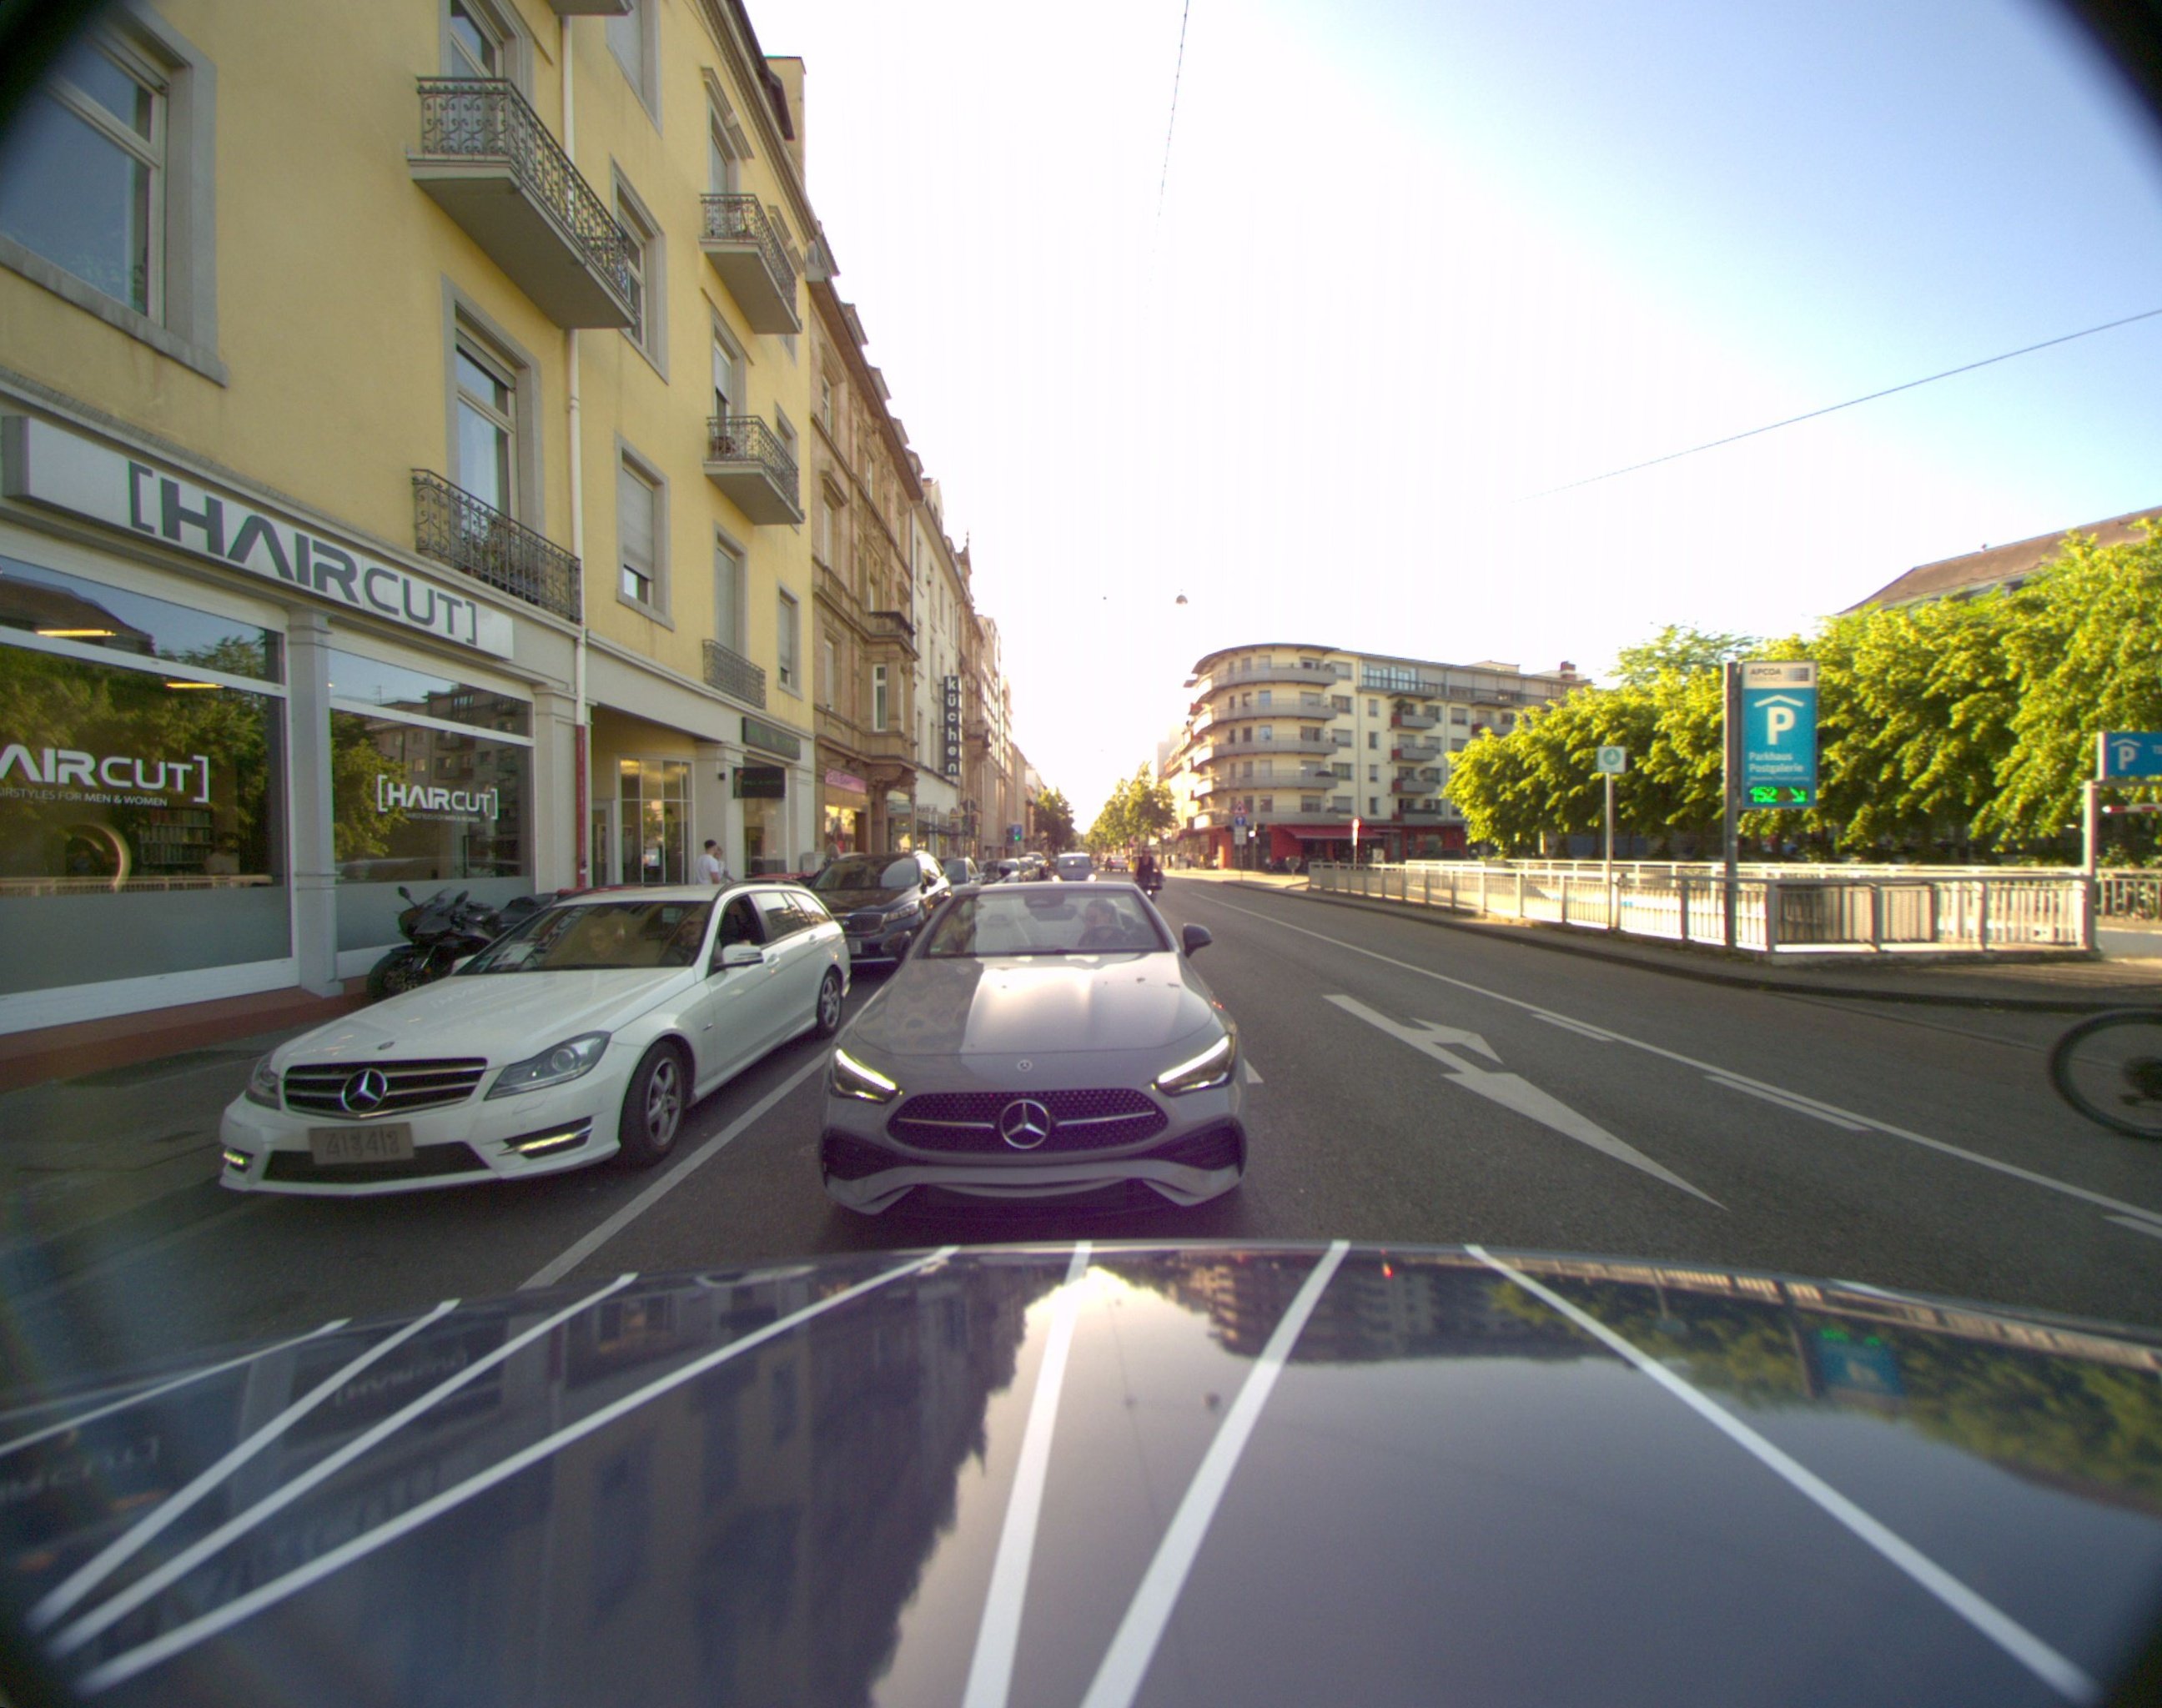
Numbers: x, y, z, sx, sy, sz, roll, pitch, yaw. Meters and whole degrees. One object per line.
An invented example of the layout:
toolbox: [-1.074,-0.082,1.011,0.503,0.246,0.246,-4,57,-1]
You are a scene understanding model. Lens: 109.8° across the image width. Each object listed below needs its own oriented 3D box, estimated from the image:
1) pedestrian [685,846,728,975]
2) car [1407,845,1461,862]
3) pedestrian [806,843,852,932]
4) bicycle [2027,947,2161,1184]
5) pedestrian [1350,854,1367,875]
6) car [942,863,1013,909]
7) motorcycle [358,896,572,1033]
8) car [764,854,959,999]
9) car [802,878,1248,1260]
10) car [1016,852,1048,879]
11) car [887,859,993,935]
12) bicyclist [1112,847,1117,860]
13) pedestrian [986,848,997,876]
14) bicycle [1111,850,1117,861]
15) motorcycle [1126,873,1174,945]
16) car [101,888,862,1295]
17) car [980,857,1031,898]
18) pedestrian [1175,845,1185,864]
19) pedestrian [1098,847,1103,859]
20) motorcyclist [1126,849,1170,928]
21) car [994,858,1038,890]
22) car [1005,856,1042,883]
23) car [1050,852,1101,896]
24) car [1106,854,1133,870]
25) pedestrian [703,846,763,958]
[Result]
pedestrian: [-5.917,0.861,12.000,0.375,1.971,0.692,-2,1,-43]
car: [29.038,-0.053,62.435,4.004,1.294,1.753,-2,1,-23]
pedestrian: [-4.822,0.629,14.525,0.720,1.644,0.604,-2,1,-26]
bicycle: [6.076,1.115,3.508,0.642,1.079,2.055,-2,3,-43]
pedestrian: [21.586,0.849,59.043,0.863,1.586,0.887,-3,1,-38]
car: [-3.359,0.992,25.349,1.802,1.259,4.085,-2,1,-1]
motorcycle: [-6.165,1.044,7.767,0.567,1.072,1.954,2,1,1]
car: [-2.982,0.875,11.310,1.803,1.629,4.243,-2,1,-3]
car: [-0.270,0.954,5.164,1.802,1.351,3.999,-2,1,-1]
car: [-3.023,0.697,47.491,1.725,1.506,4.004,-2,1,-1]
car: [-3.302,0.944,18.582,1.802,1.518,4.085,-2,1,-1]
bicyclist: [3.953,-0.108,90.715,0.524,1.539,0.799,-2,1,5]
pedestrian: [-5.848,0.510,49.791,0.574,1.840,0.665,-2,1,1]
bicycle: [3.965,0.177,90.753,0.527,1.163,1.594,-2,1,5]
motorcycle: [1.269,0.996,14.395,0.720,1.177,1.906,-2,1,1]
car: [-3.053,1.066,5.264,1.704,1.351,4.378,-2,1,1]
car: [-2.980,0.891,30.723,1.660,1.423,4.085,-2,1,-1]
pedestrian: [10.405,0.042,80.080,0.860,2.002,0.889,-2,1,0]
pedestrian: [3.176,-0.172,124.402,0.860,2.002,0.889,-2,1,1]
motorcyclist: [1.256,0.636,14.378,0.722,1.438,0.705,-2,1,1]
car: [-3.115,0.921,36.845,1.802,1.332,3.838,-2,1,-1]
car: [-3.064,0.817,41.391,1.725,1.332,3.668,-2,1,-1]
car: [-0.175,0.745,30.376,1.856,1.543,3.999,-2,1,1]
car: [3.498,0.720,69.741,1.824,1.346,4.262,1,1,-5]
pedestrian: [-5.909,0.803,12.941,0.664,1.840,0.575,-2,1,2]
